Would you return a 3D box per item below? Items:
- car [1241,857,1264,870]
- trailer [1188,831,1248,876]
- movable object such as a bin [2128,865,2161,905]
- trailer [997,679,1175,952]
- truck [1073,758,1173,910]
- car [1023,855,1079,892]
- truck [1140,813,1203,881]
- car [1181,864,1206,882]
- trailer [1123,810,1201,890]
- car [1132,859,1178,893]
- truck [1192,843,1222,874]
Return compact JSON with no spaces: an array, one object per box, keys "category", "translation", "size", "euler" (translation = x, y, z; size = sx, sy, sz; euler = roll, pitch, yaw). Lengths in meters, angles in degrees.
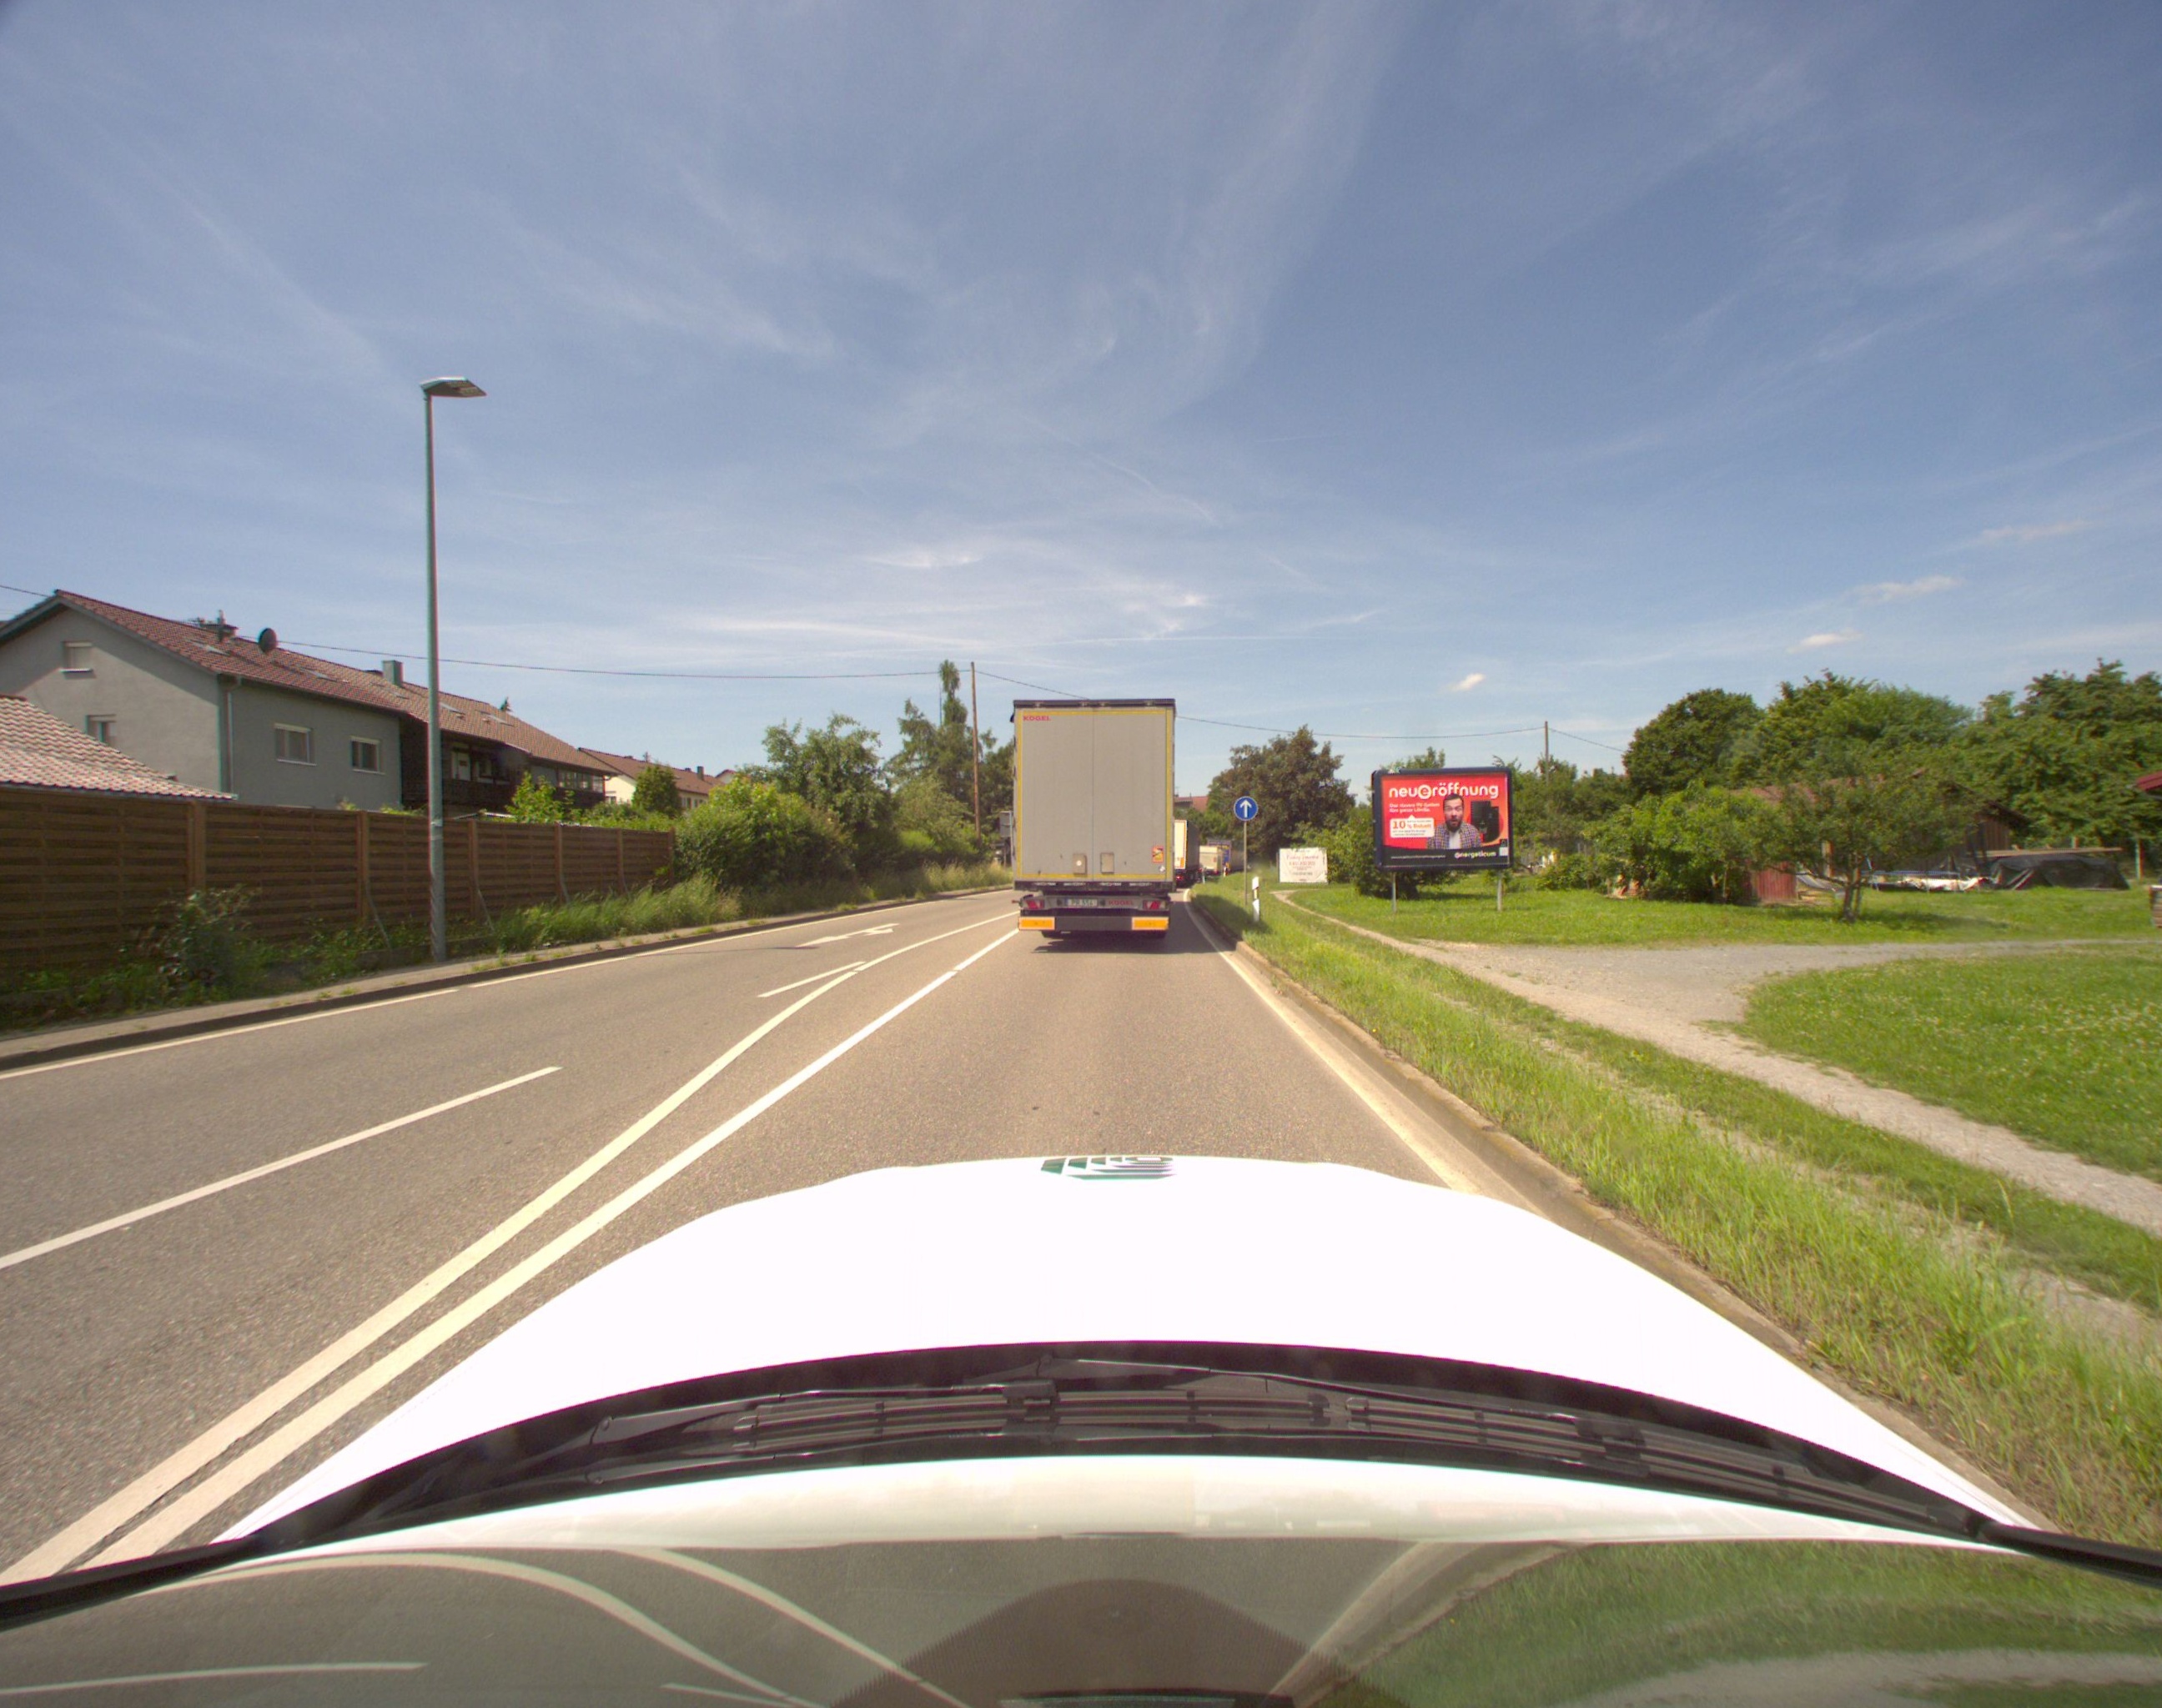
[{"category":"car","translation":[22.650,1.206,107.320],"size":[1.975,1.684,4.024],"euler":[0,0,26]},{"category":"trailer","translation":[15.612,-0.101,91.357],"size":[5.142,4.628,15.958],"euler":[0,0,15]},{"category":"movable object such as a bin","translation":[29.009,0.819,21.682],"size":[1.039,1.033,1.059],"euler":[0,0,-12]},{"category":"trailer","translation":[0.734,-0.605,18.700],"size":[2.772,4.205,12.132],"euler":[0,0,6]},{"category":"truck","translation":[1.496,-0.544,25.471],"size":[2.731,4.165,6.154],"euler":[0,0,6]},{"category":"car","translation":[-1.345,0.875,38.445],"size":[1.835,1.655,4.414],"euler":[0,0,8]},{"category":"truck","translation":[6.701,-0.452,59.250],"size":[3.912,4.575,7.173],"euler":[-1,-1,11]},{"category":"car","translation":[9.615,1.610,69.525],"size":[1.829,1.486,4.013],"euler":[0,0,12]},{"category":"trailer","translation":[5.502,-0.180,52.474],"size":[3.866,4.521,12.750],"euler":[-1,-1,11]},{"category":"car","translation":[3.723,1.056,40.580],"size":[1.982,1.530,4.010],"euler":[0,0,9]},{"category":"truck","translation":[12.078,0.410,77.887],"size":[2.403,2.838,5.432],"euler":[0,0,13]}]
